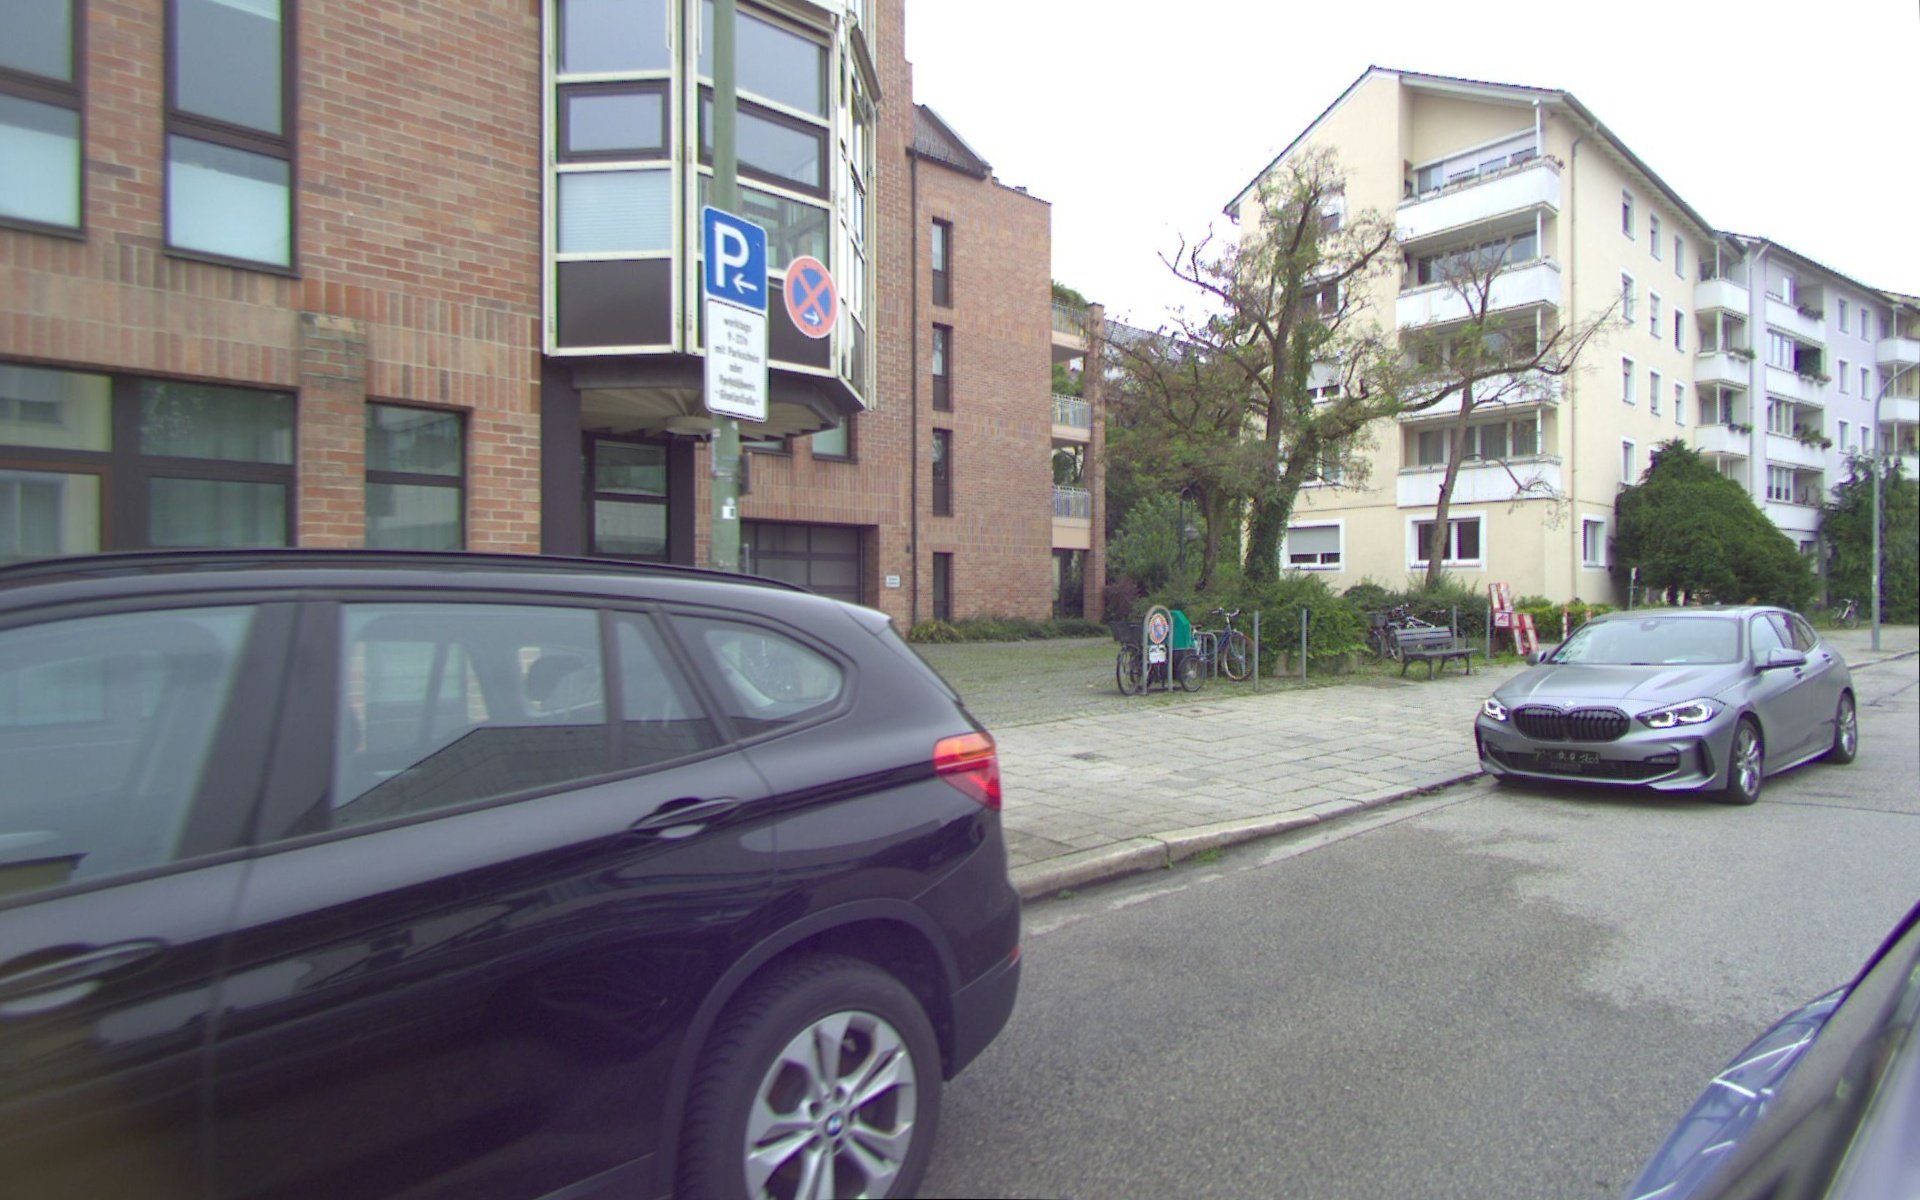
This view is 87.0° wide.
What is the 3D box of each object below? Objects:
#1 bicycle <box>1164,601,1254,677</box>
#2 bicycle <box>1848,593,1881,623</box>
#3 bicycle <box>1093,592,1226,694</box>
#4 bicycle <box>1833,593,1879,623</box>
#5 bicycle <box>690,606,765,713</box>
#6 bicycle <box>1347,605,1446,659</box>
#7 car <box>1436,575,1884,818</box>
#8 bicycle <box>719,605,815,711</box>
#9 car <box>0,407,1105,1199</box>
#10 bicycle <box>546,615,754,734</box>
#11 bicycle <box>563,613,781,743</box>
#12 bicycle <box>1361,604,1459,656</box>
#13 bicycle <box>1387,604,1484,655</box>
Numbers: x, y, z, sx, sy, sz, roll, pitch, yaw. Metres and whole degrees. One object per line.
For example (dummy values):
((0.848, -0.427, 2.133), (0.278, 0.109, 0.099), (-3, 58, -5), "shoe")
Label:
((3.991, 0.629, 16.277), (1.338, 1.188, 0.420), (-1, -2, 6), "bicycle")
((35.502, 0.296, 39.703), (1.906, 1.132, 0.469), (0, 1, -33), "bicycle")
((2.812, 0.555, 14.064), (2.374, 1.264, 0.534), (-2, -1, -45), "bicycle")
((33.895, 0.298, 38.268), (1.903, 1.132, 0.469), (0, 1, -21), "bicycle")
((-2.720, 0.664, 11.741), (0.375, 1.162, 1.482), (1, -2, -32), "bicycle")
((8.374, 0.615, 19.474), (0.536, 0.978, 1.704), (1, -2, -38), "bicycle")
((6.004, 0.619, 8.496), (4.313, 1.532, 1.929), (0, -2, -39), "car")
((-2.328, 0.667, 12.053), (0.478, 1.162, 1.854), (1, -2, -32), "bicycle")
((-1.764, 0.589, 2.018), (4.193, 1.623, 1.832), (1, -2, -43), "car")
((-3.048, 0.696, 10.112), (1.961, 1.073, 0.486), (0, -2, -42), "bicycle")
((-2.689, 0.693, 9.617), (1.961, 1.073, 0.486), (-1, -1, -42), "bicycle")
((8.850, 0.598, 19.975), (0.536, 0.978, 1.704), (1, -2, -38), "bicycle")
((9.564, 0.600, 20.422), (0.536, 0.978, 1.704), (1, -2, -38), "bicycle")
